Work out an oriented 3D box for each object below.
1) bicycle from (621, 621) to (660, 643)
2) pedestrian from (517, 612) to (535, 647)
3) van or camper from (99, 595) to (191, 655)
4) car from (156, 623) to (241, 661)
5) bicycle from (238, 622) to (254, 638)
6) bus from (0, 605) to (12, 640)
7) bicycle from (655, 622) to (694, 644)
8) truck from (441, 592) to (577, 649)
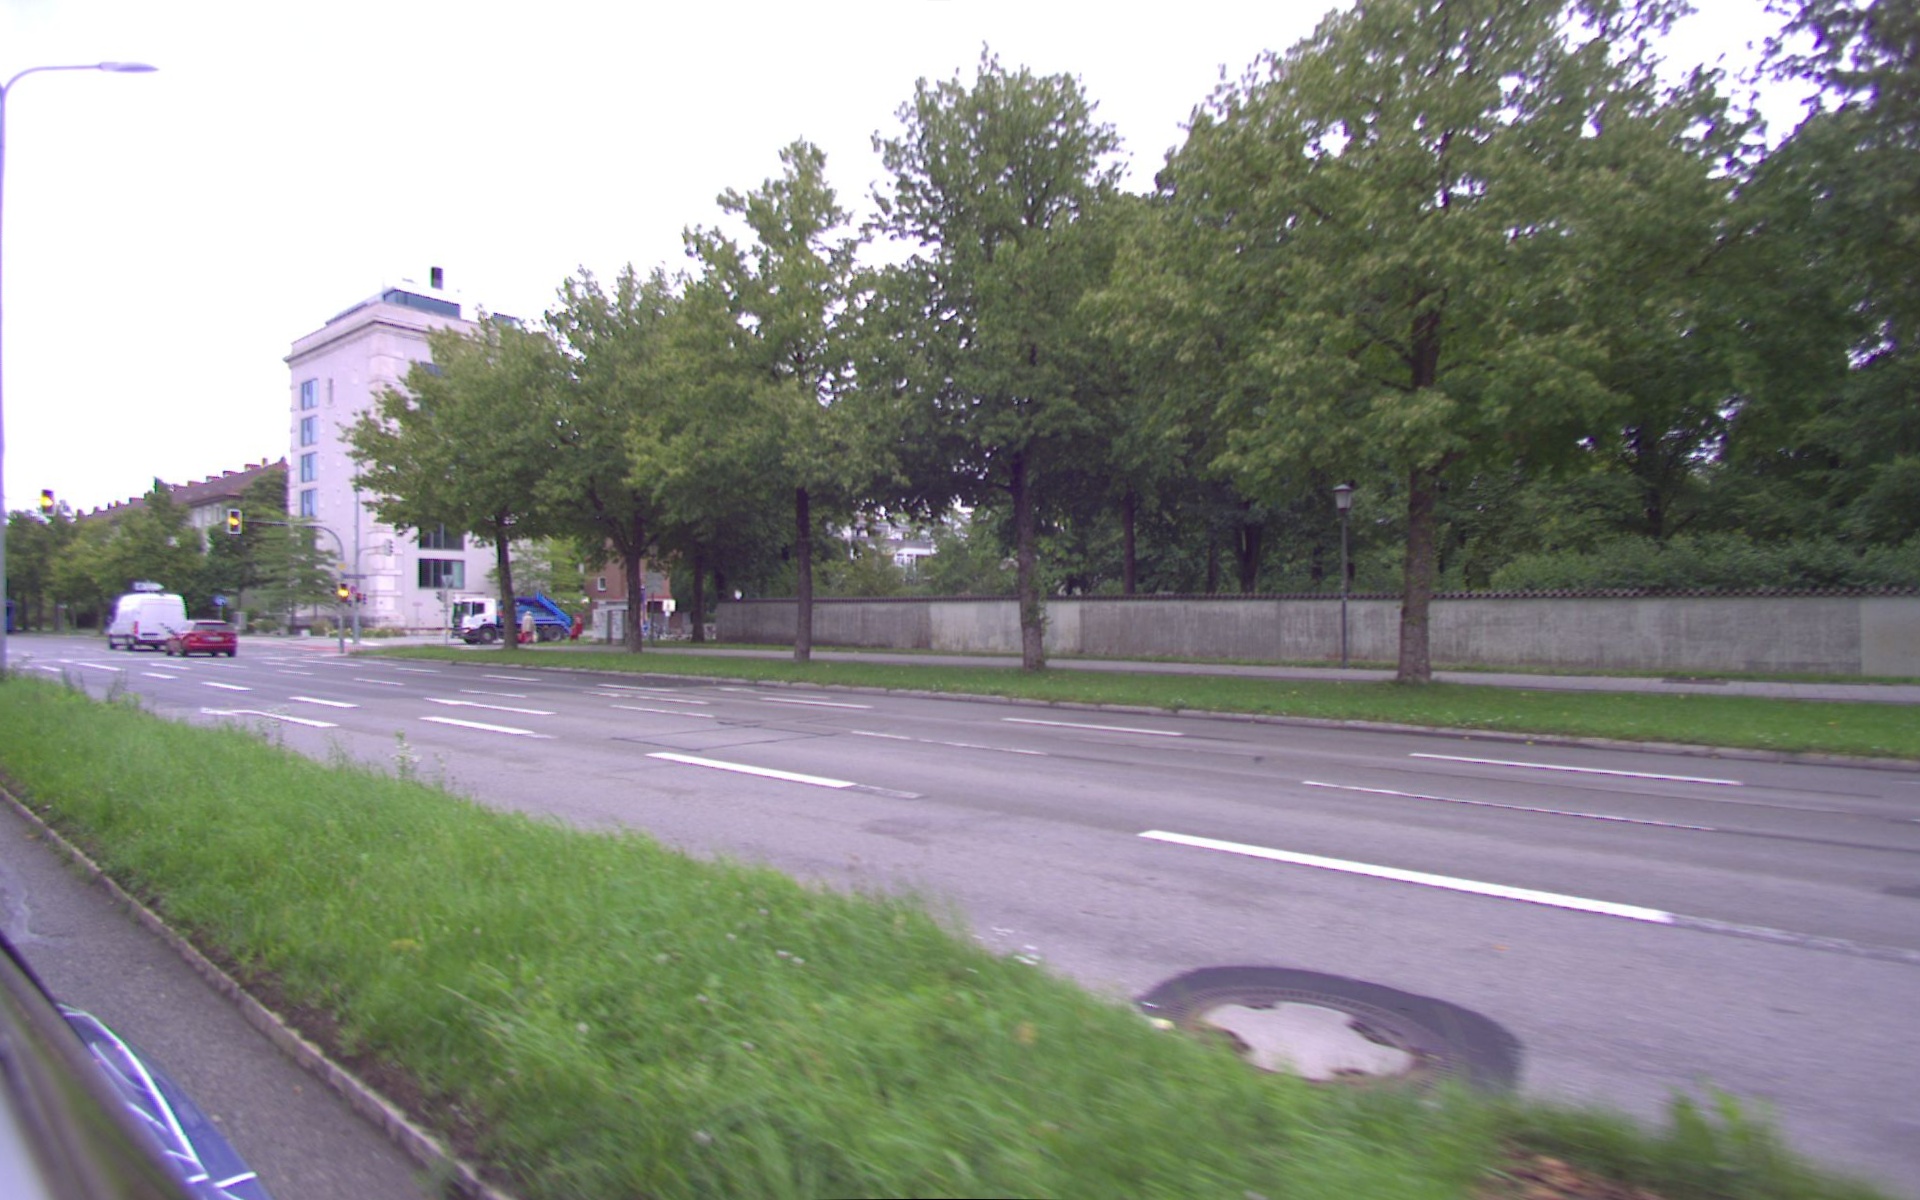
[{"bbox_3d":[-17.458,1.749,55.278,2.494,1.195,0.827,-1,-1,40],"label":"bicycle"},{"bbox_3d":[-21.873,1.494,50.987,0.516,1.753,0.701,-1,-1,36],"label":"pedestrian"},{"bbox_3d":[-38.789,1.227,48.096,6.947,2.667,2.155,-1,-3,41],"label":"van or camper"},{"bbox_3d":[-30.808,1.686,40.885,4.654,1.463,1.725,-1,-4,41],"label":"car"},{"bbox_3d":[-52.362,2.187,74.196,1.825,1.190,0.539,-1,-1,40],"label":"bicycle"},{"bbox_3d":[-97.829,2.205,101.200,12.036,3.369,2.718,-1,-3,39],"label":"bus"},{"bbox_3d":[-16.015,1.832,56.678,2.494,1.195,0.827,-1,-1,40],"label":"bicycle"},{"bbox_3d":[-29.329,1.309,66.102,2.771,3.515,7.717,-1,-1,41],"label":"truck"}]
